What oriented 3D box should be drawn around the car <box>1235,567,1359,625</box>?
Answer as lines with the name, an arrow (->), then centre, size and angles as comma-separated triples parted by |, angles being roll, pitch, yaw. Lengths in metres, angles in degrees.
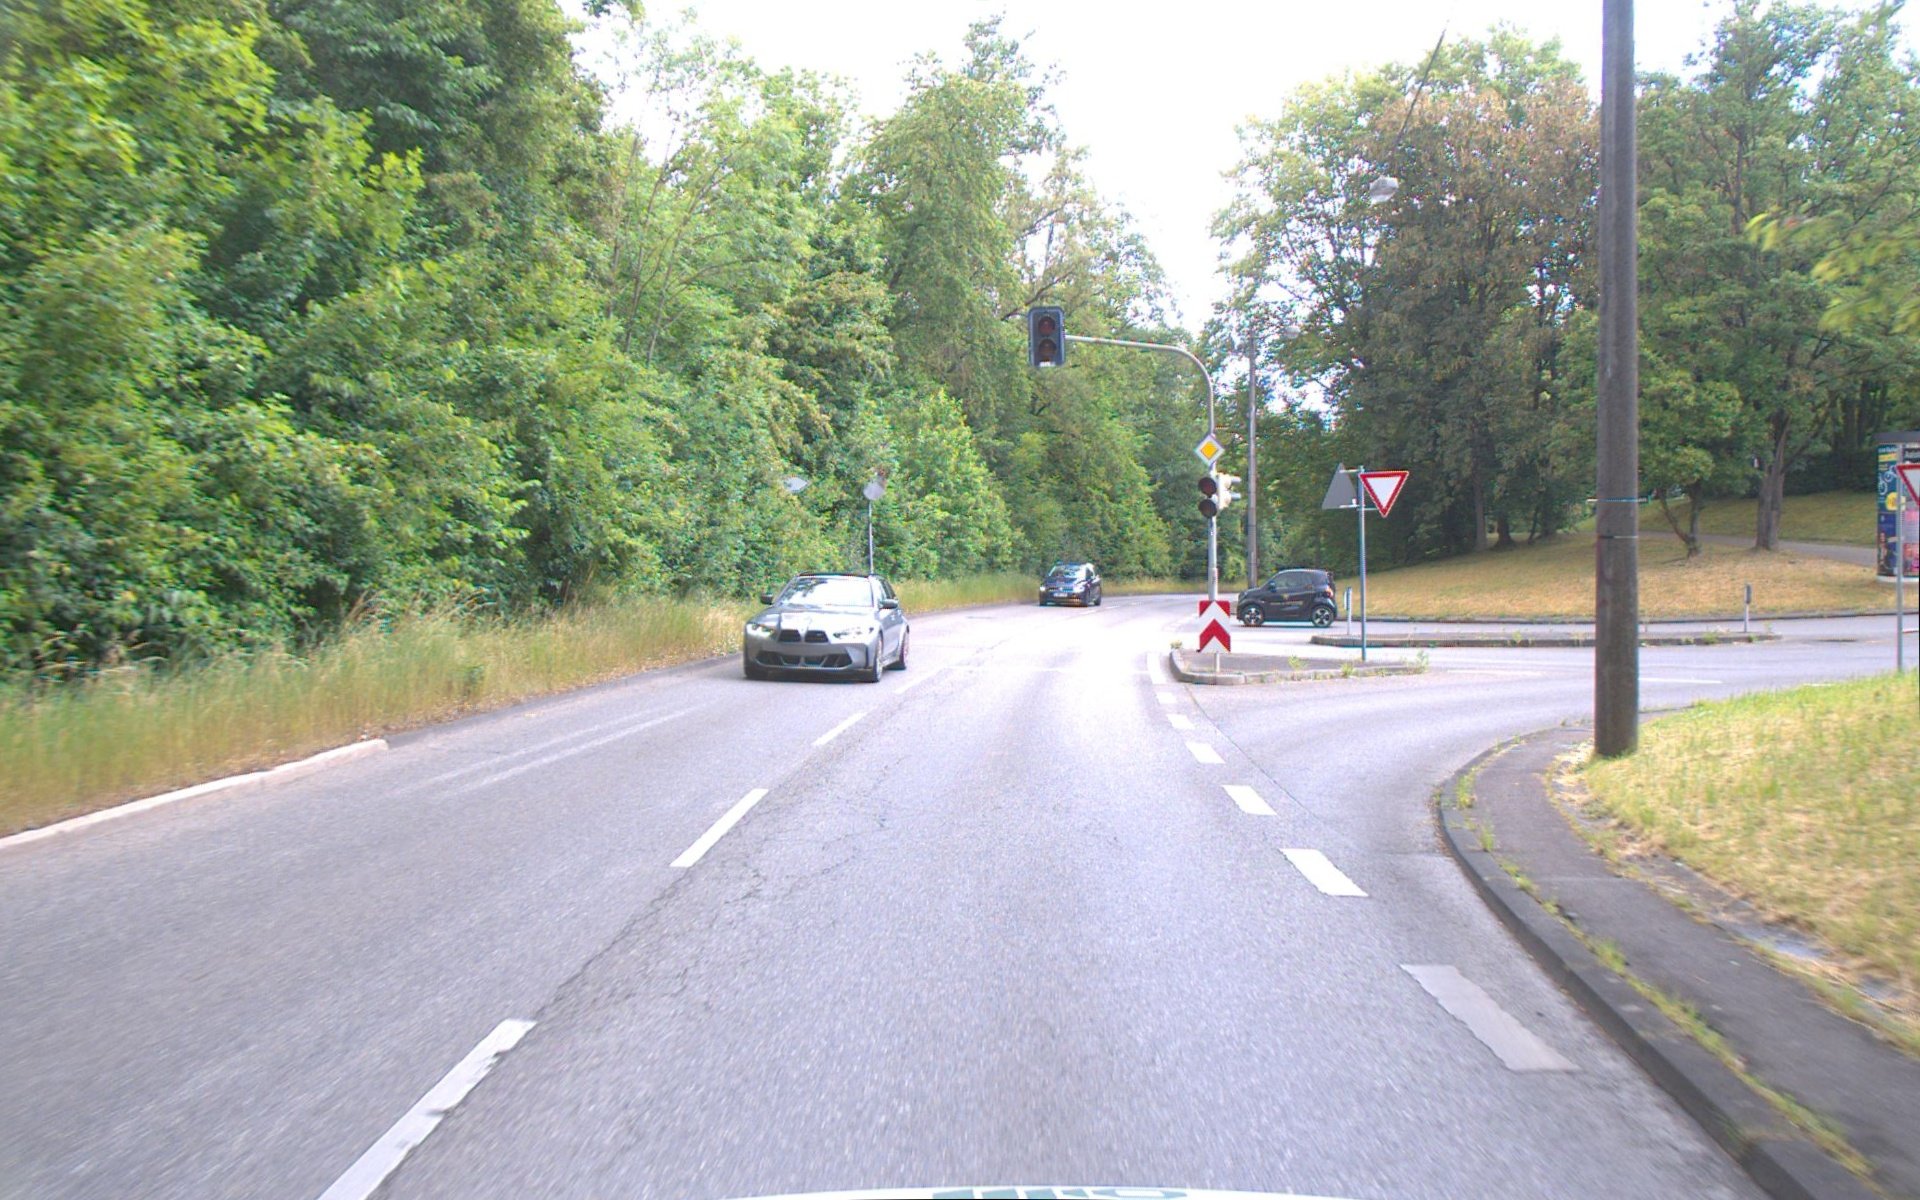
car -> 9.121, -0.128, 44.680 | 3.233, 1.521, 1.669 | 0, 1, 14

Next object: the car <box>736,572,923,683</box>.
car -> -1.781, 0.342, 24.232 | 1.858, 1.377, 4.845 | 3, 1, 5

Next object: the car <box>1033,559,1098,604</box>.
car -> 3.852, -0.662, 59.863 | 1.750, 1.541, 4.847 | 0, 1, 11
